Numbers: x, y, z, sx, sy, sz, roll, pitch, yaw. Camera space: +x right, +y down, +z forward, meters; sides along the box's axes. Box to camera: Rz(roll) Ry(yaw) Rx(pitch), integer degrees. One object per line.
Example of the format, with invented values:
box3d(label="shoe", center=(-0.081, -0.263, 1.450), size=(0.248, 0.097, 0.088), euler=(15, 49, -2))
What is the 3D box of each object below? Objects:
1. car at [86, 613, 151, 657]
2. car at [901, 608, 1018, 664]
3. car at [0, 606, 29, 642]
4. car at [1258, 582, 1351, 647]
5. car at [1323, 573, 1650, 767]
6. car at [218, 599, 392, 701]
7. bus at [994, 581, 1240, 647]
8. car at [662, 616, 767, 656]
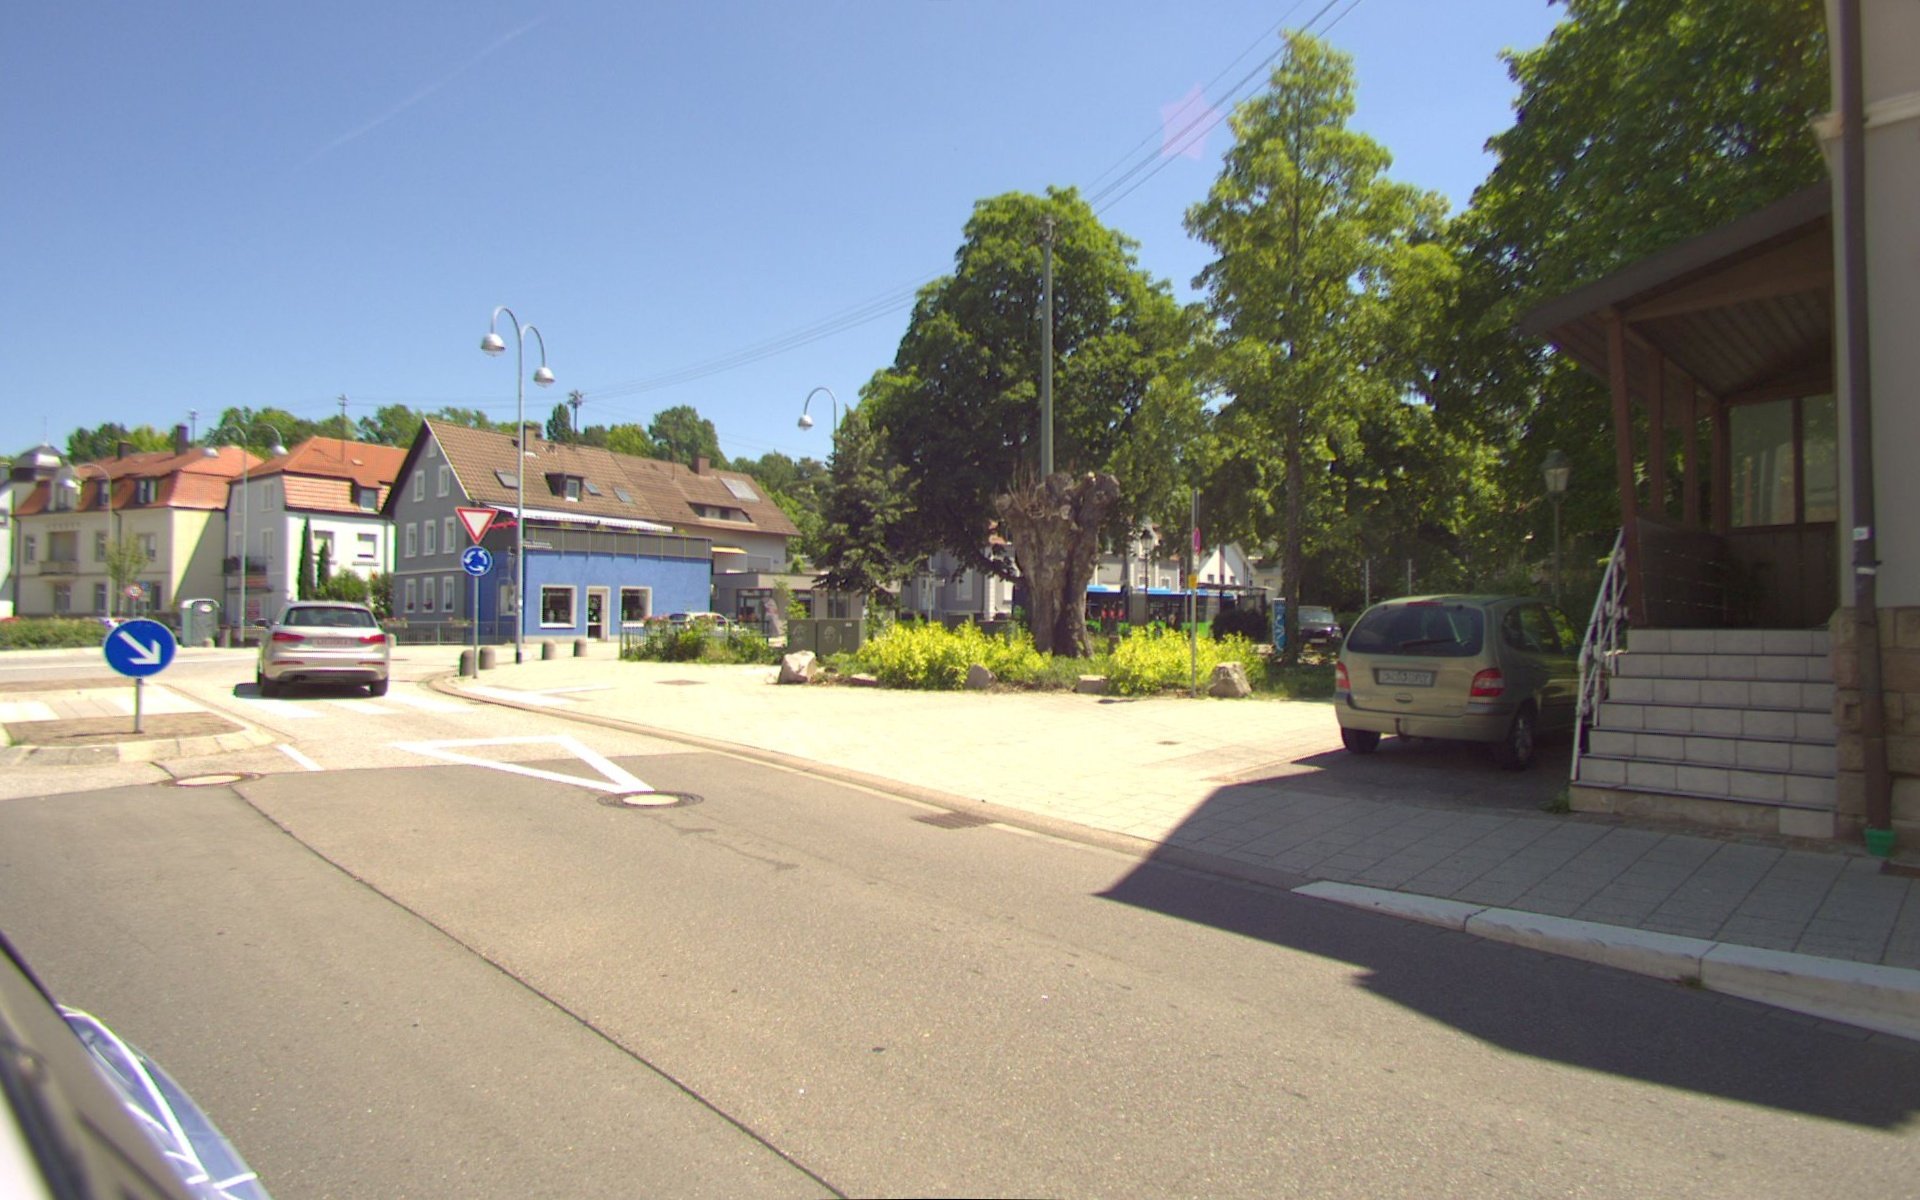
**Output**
box3d(label="car", center=(-33.302, 1.414, 40.123), size=(1.717, 1.528, 4.217), euler=(-2, -2, -37))
box3d(label="car", center=(-0.028, 1.045, 29.842), size=(3.049, 1.564, 1.617), euler=(-1, -1, 32))
box3d(label="car", center=(-74.590, 1.827, 75.810), size=(2.378, 2.764, 6.950), euler=(-1, -1, 42))
box3d(label="car", center=(11.357, 0.474, 33.637), size=(1.975, 2.029, 3.994), euler=(-1, -1, 5))
box3d(label="car", center=(5.622, 0.629, 10.607), size=(3.939, 1.652, 1.760), euler=(0, -2, -43))
box3d(label="car", center=(-11.386, 0.829, 17.490), size=(4.086, 1.555, 1.655), euler=(-1, -3, 45))
box3d(label="bus", center=(9.441, 0.778, 56.985), size=(17.799, 3.195, 3.722), euler=(1, 0, -44))
box3d(label="car", center=(-9.245, 1.326, 38.097), size=(3.654, 1.423, 1.555), euler=(0, -1, -21))
